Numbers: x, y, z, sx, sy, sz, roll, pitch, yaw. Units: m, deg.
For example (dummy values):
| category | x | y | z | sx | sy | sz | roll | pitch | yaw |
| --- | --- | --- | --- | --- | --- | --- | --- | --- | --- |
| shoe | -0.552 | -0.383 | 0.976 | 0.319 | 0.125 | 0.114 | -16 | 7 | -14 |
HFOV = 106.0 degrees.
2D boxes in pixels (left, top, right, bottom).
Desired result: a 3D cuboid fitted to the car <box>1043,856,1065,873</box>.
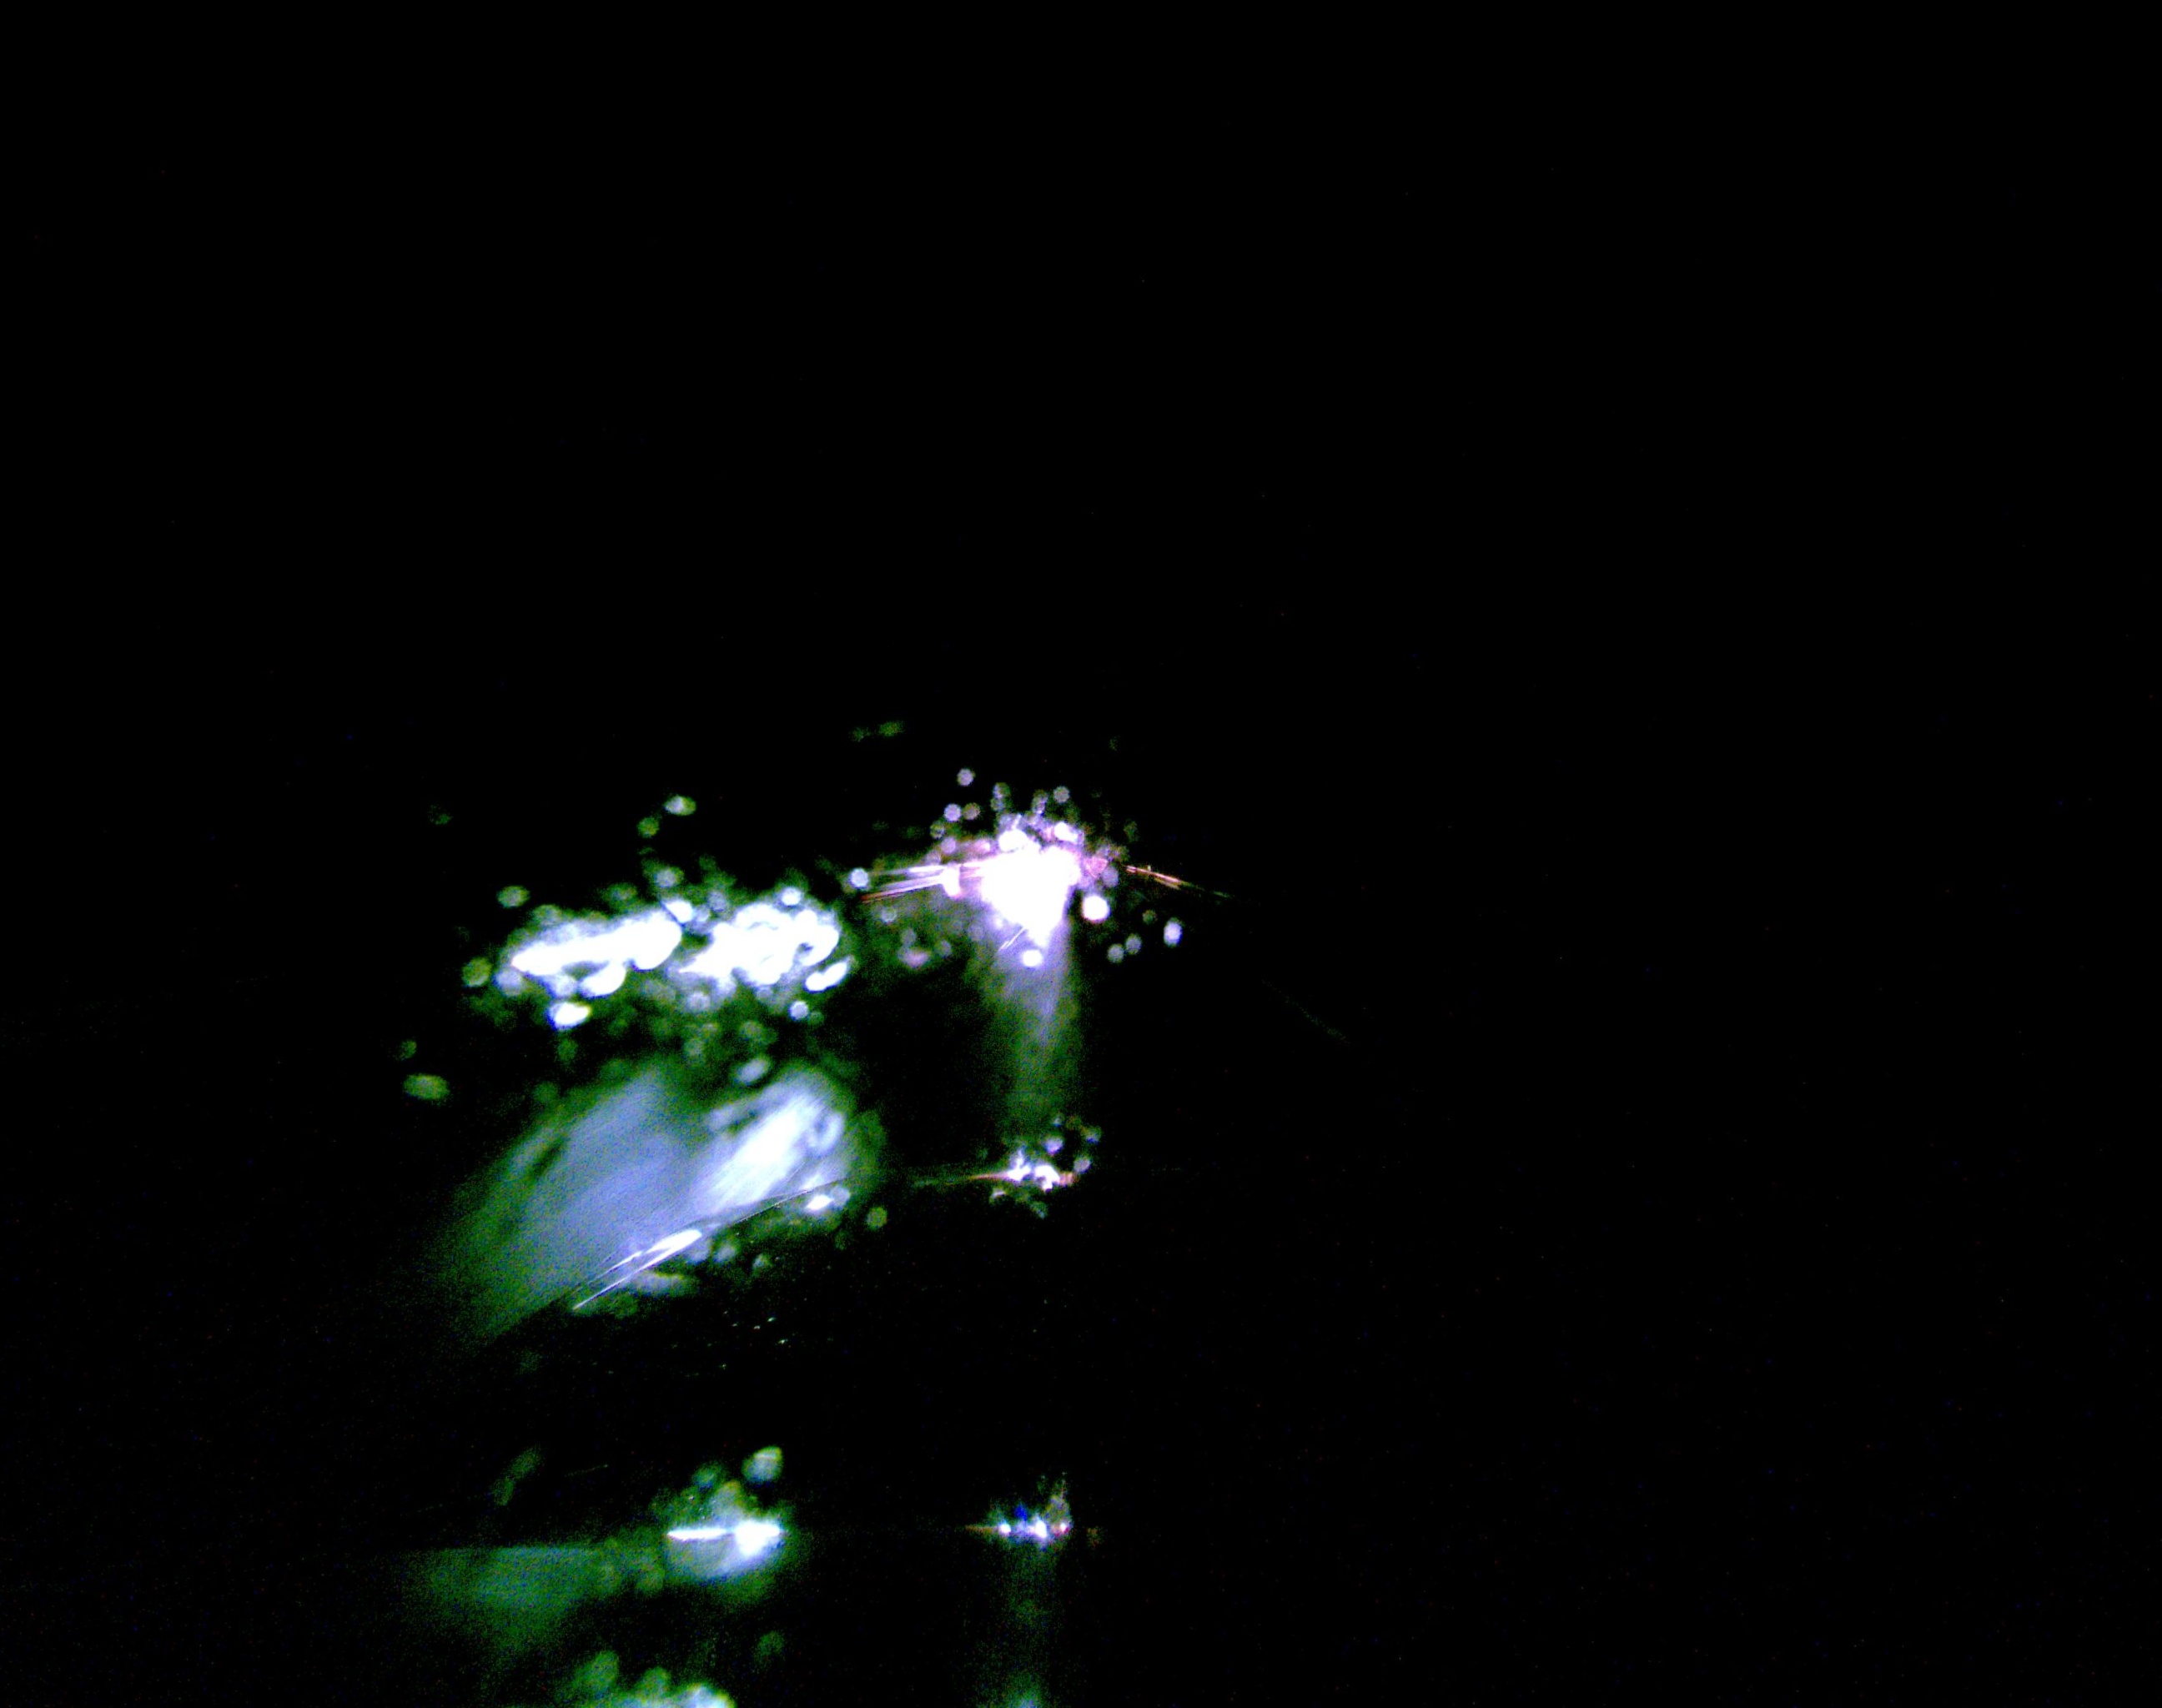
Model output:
| category | x | y | z | sx | sy | sz | roll | pitch | yaw |
| --- | --- | --- | --- | --- | --- | --- | --- | --- | --- |
| car | -2.523 | 1.025 | 77.005 | 1.828 | 1.545 | 4.645 | 0 | -1 | 0 |

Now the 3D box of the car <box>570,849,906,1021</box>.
| category | x | y | z | sx | sy | sz | roll | pitch | yaw |
| --- | --- | --- | --- | --- | --- | --- | --- | --- | --- |
| car | -3.377 | 0.696 | 8.950 | 1.986 | 1.472 | 3.837 | 0 | 0 | 1 |

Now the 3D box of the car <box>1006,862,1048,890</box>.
| category | x | y | z | sx | sy | sz | roll | pitch | yaw |
| --- | --- | --- | --- | --- | --- | --- | --- | --- | --- |
| car | -2.661 | 1.070 | 41.068 | 1.799 | 1.338 | 4.188 | 0 | -1 | 0 |
